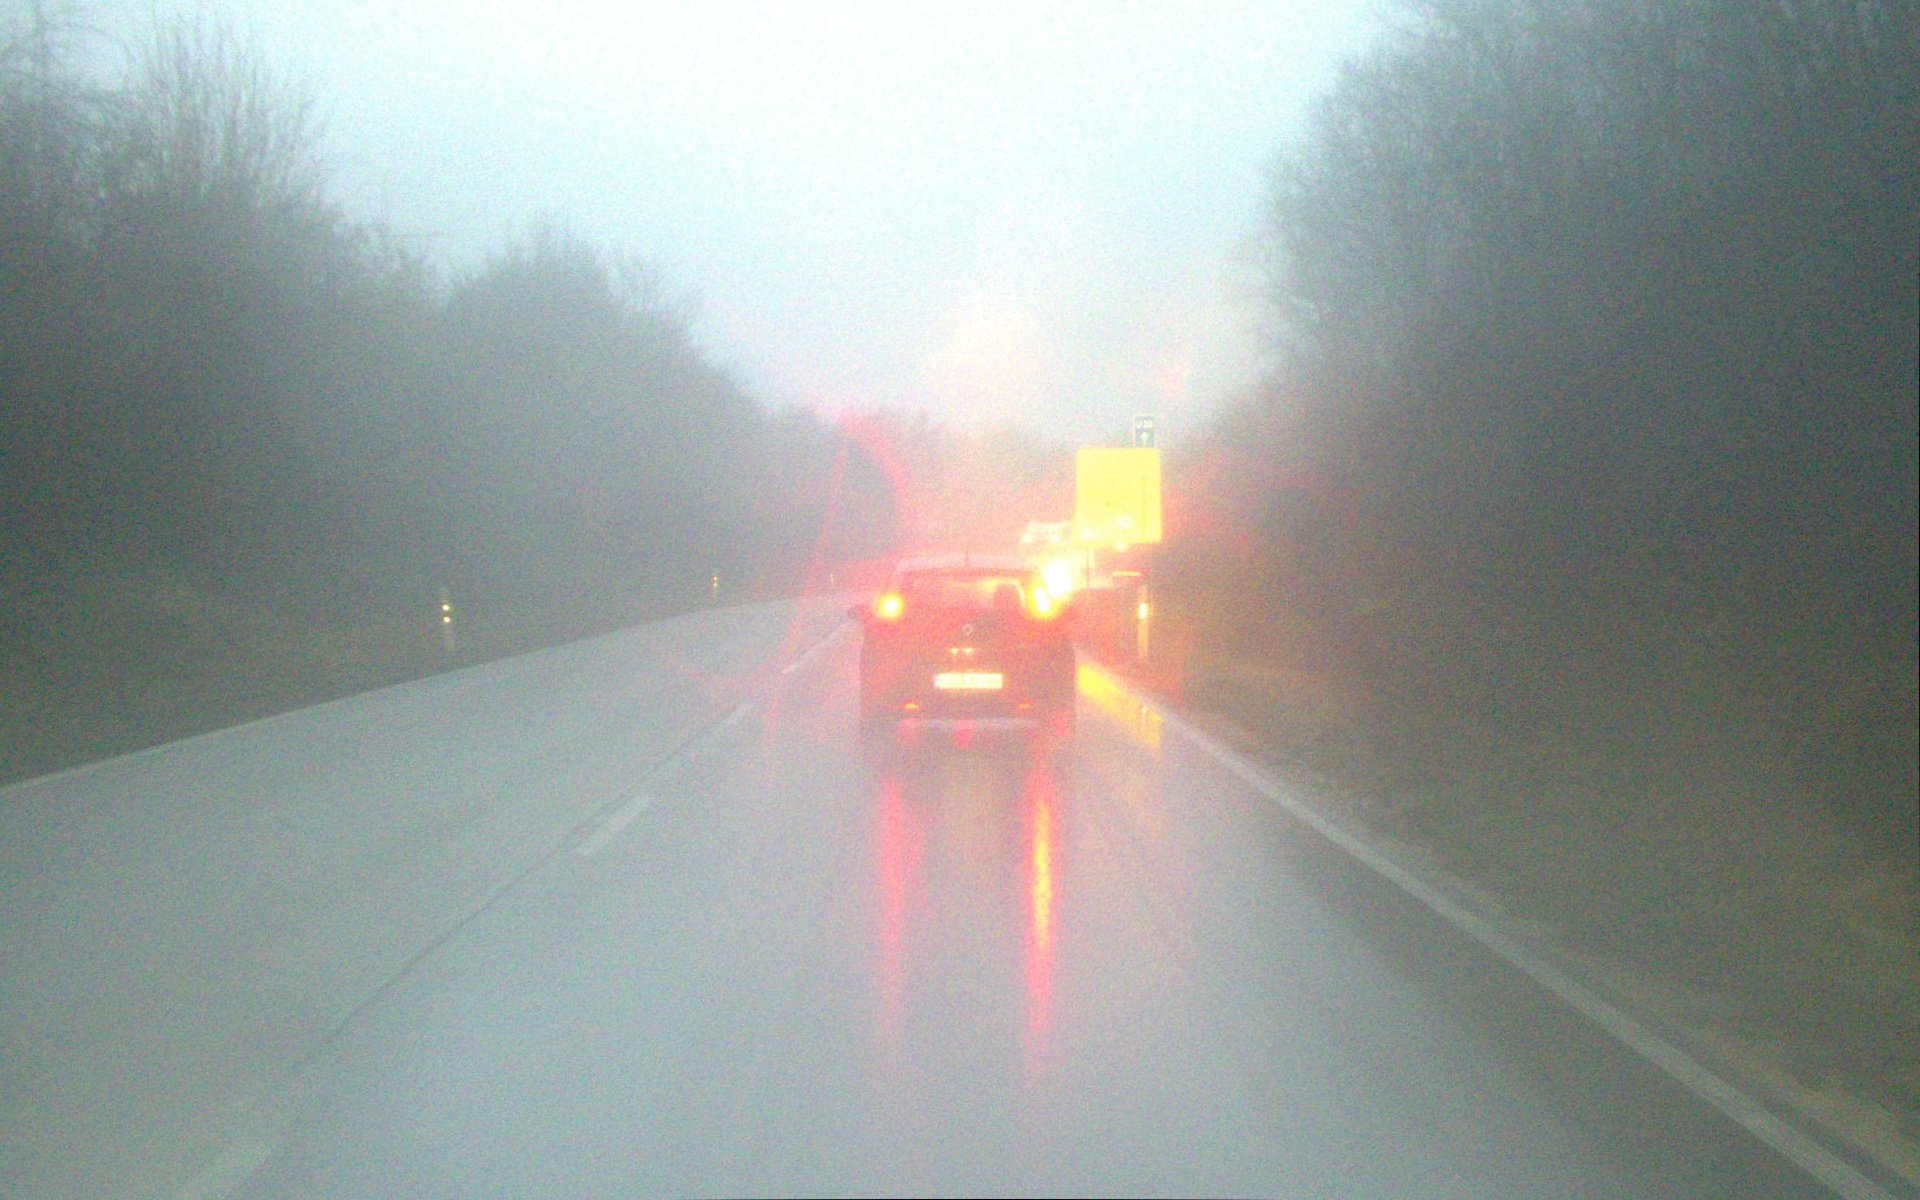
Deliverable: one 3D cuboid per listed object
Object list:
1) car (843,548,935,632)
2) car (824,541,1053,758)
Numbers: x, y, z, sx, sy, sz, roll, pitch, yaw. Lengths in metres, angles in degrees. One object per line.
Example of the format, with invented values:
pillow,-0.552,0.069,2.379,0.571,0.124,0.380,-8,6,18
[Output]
car,-1.411,-0.226,69.644,1.728,1.638,4.000,0,1,1
car,-0.143,0.346,27.906,1.728,1.638,4.000,0,1,1
